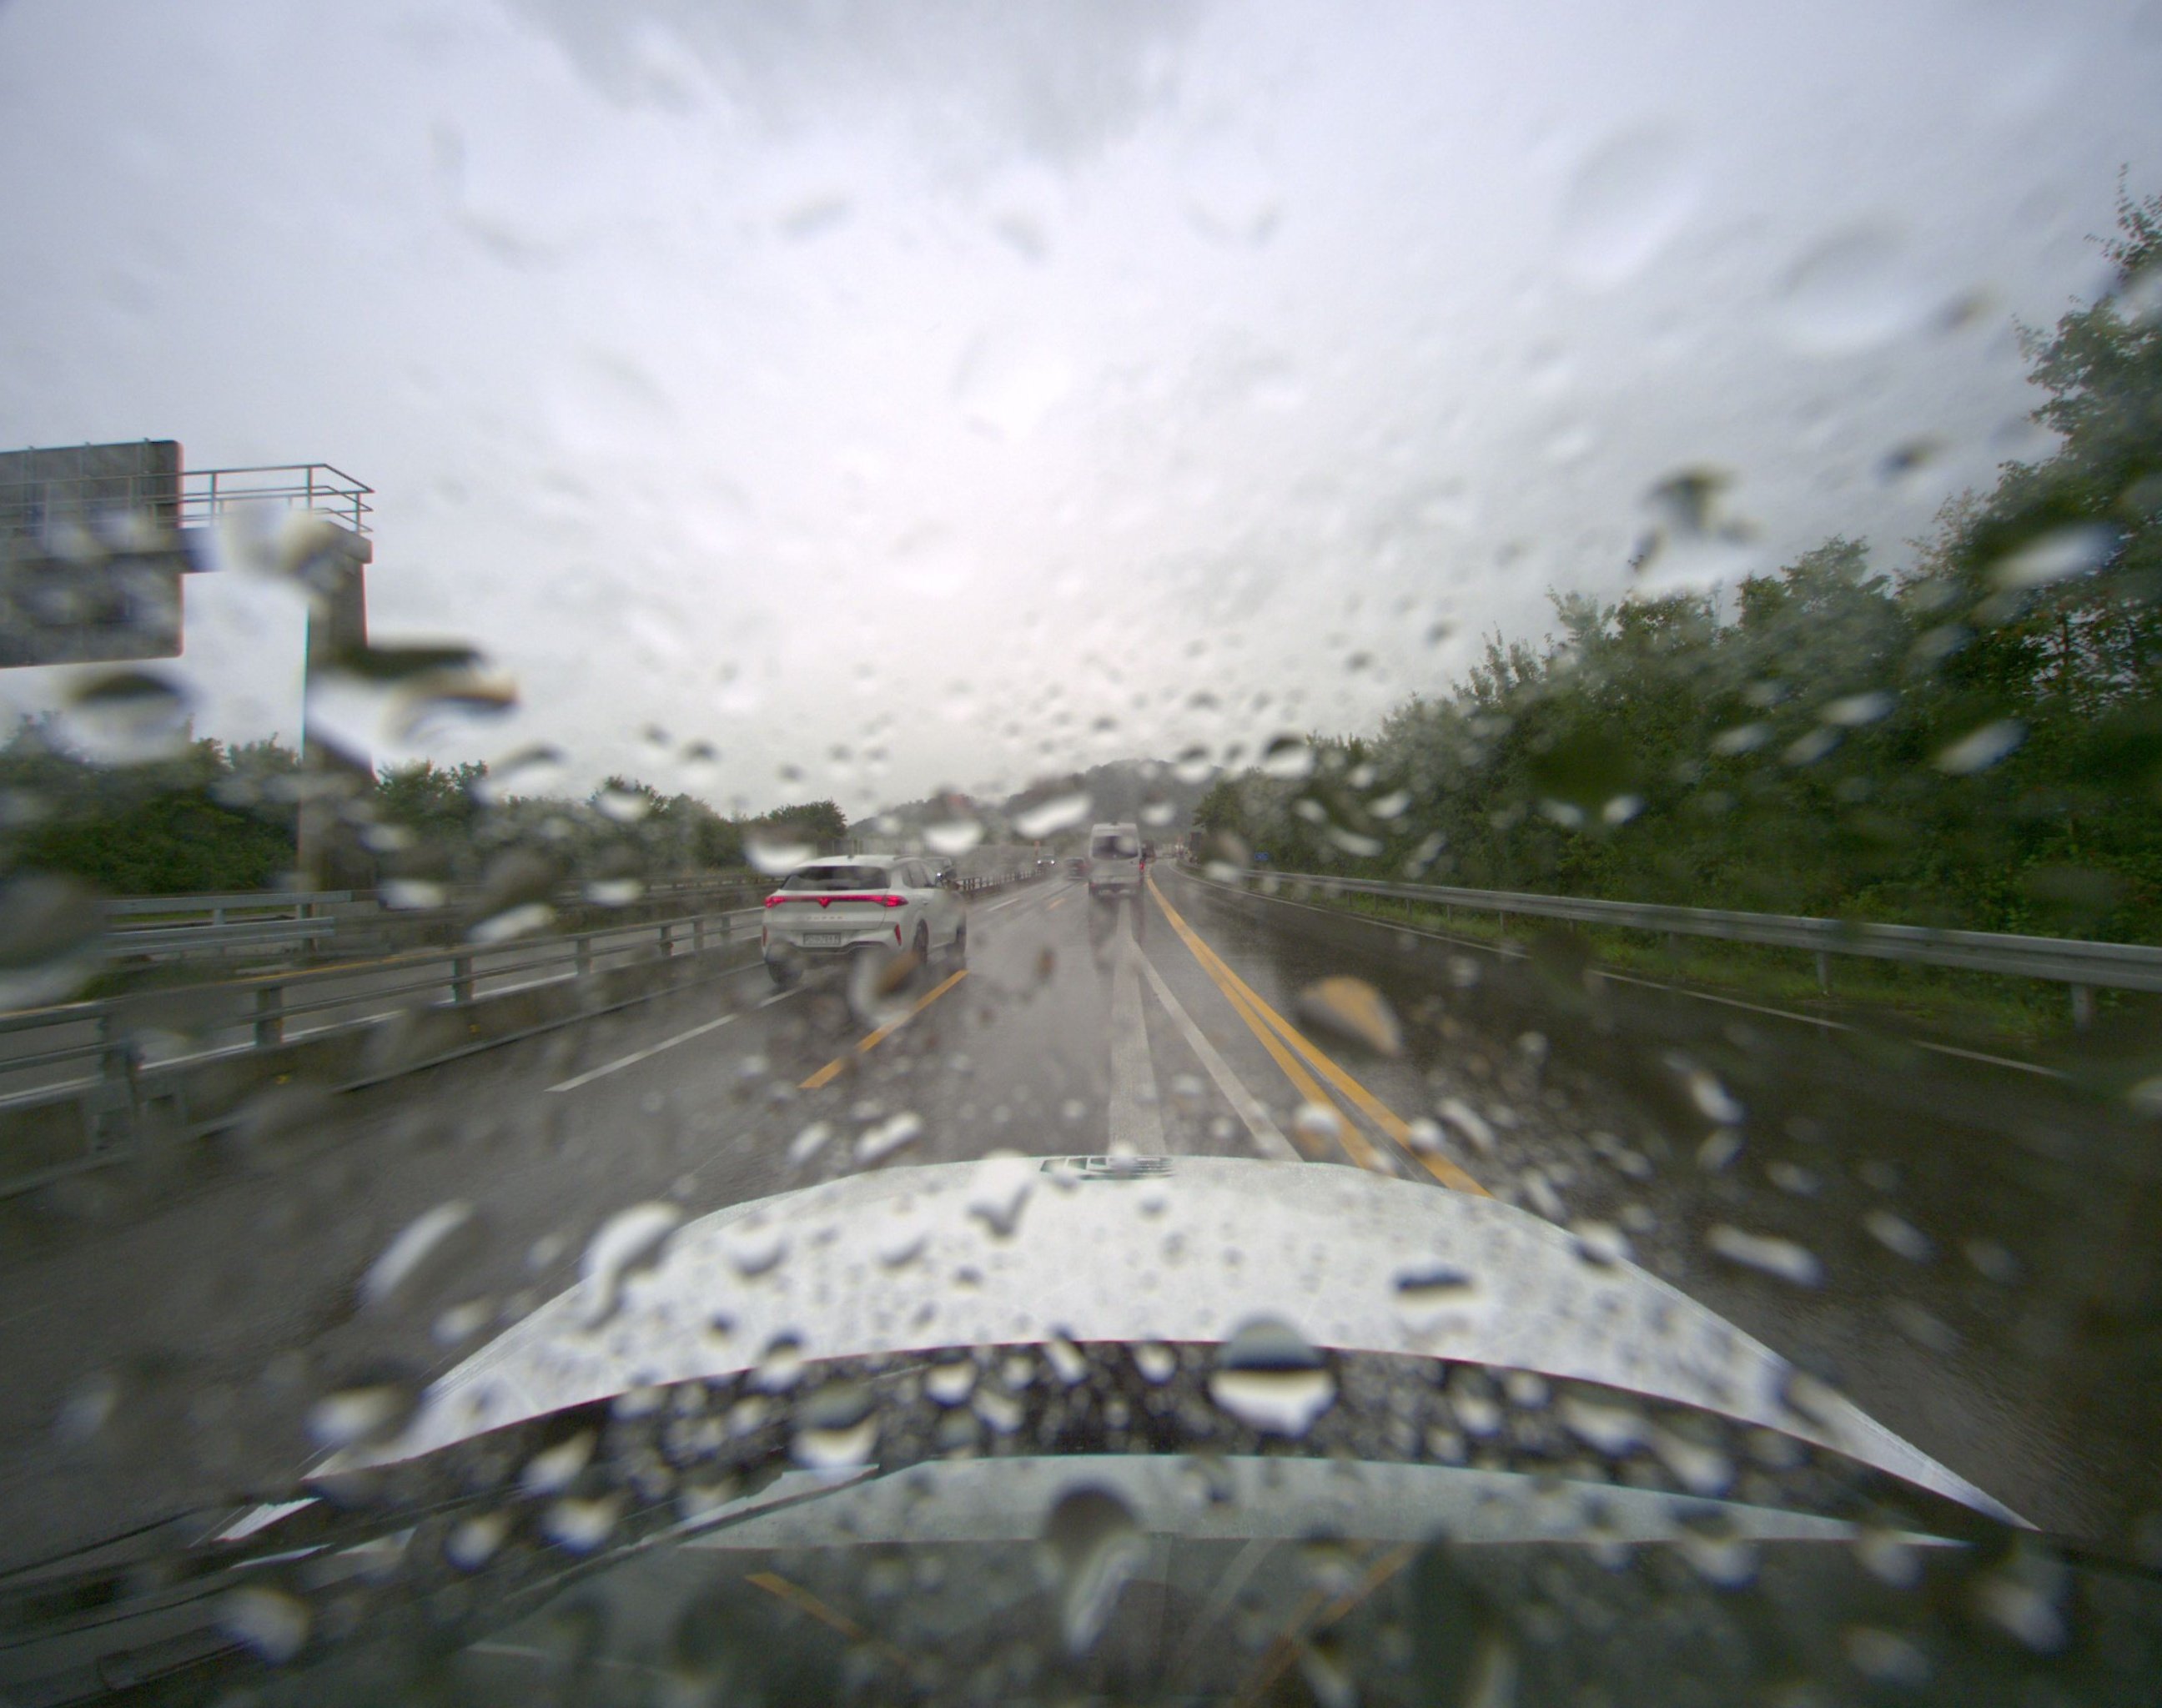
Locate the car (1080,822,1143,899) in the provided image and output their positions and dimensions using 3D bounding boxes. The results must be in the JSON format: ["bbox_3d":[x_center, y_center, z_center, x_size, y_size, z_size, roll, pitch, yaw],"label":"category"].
[{"bbox_3d":[1.208,0.239,30.193,2.135,2.571,5.395,0,-1,4],"label":"car"}]

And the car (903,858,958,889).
[{"bbox_3d":[-7.705,0.984,41.940,1.839,1.502,4.133,0,-1,3],"label":"car"}]

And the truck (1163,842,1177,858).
[{"bbox_3d":[24.775,-1.117,226.382,3.017,4.406,9.651,0,-1,10],"label":"truck"}]

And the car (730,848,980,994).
[{"bbox_3d":[-2.797,0.757,11.394,1.986,1.617,4.798,0,0,2],"label":"car"}]

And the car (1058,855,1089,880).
[{"bbox_3d":[-0.505,0.870,53.058,1.941,1.561,3.998,0,-1,-1],"label":"car"}]

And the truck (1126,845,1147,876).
[{"bbox_3d":[5.841,0.717,85.334,1.984,3.109,8.511,0,-1,6],"label":"truck"}]

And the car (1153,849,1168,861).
[{"bbox_3d":[18.642,0.234,190.117,2.880,2.887,6.430,0,-1,11],"label":"car"}]

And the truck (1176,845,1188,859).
[{"bbox_3d":[32.091,-0.588,259.109,2.878,4.406,9.658,0,-1,13],"label":"truck"}]

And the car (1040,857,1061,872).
[{"bbox_3d":[-3.317,1.141,88.813,1.770,1.604,4.322,0,-1,5],"label":"car"}]

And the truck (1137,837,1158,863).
[{"bbox_3d":[11.607,-0.680,142.444,3.564,4.406,9.636,0,-1,5],"label":"truck"}]
